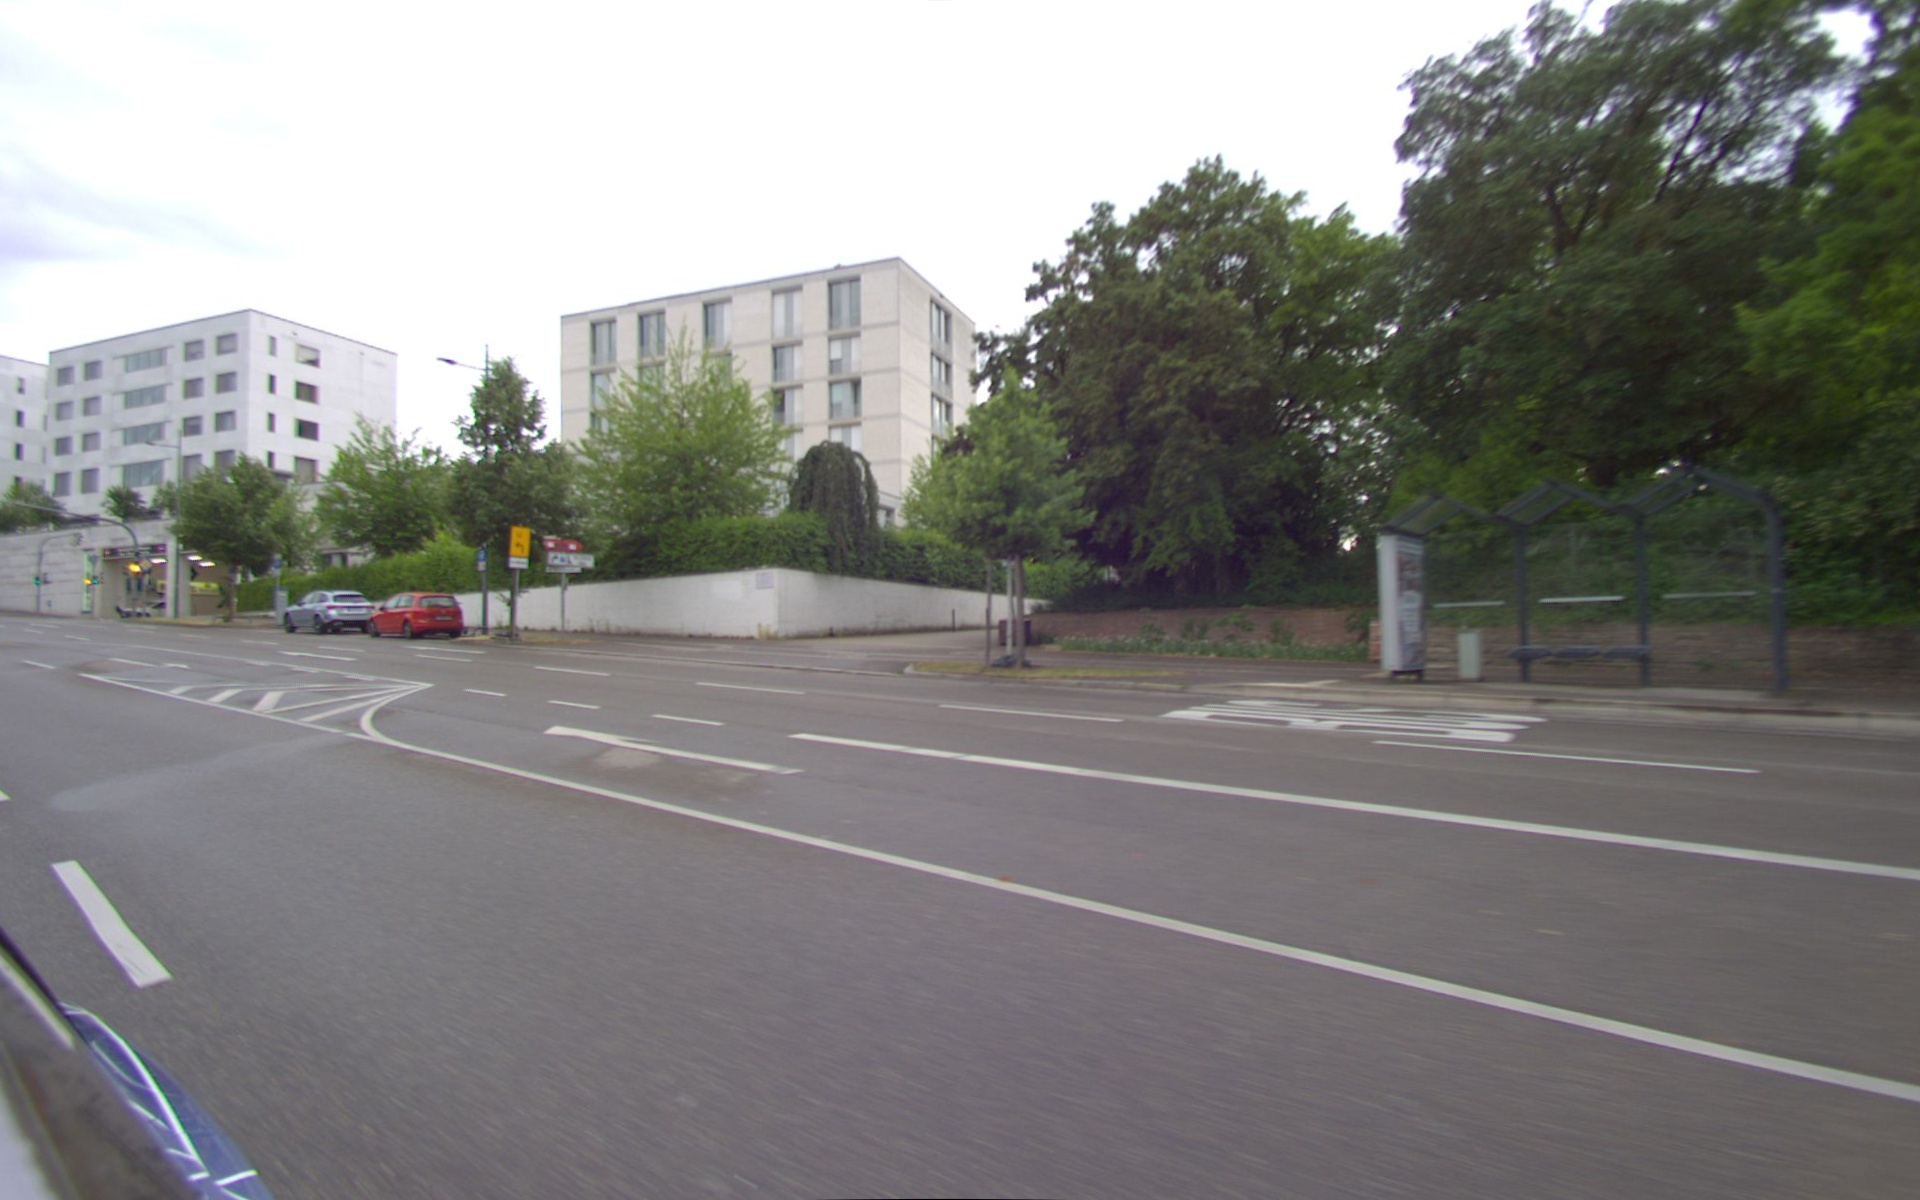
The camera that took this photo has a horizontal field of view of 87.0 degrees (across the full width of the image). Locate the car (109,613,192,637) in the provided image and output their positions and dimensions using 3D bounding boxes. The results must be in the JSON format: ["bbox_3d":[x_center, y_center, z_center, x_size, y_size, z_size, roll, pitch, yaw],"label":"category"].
[{"bbox_3d":[-59.004,1.830,73.874,1.984,1.664,4.319,1,-2,19],"label":"car"}]

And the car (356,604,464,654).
[{"bbox_3d":[-18.987,0.970,34.871,4.210,1.599,1.649,0,-2,37],"label":"car"}]

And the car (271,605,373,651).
[{"bbox_3d":[-24.676,1.026,39.065,4.876,1.666,1.748,0,0,37],"label":"car"}]

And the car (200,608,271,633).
[{"bbox_3d":[-54.546,1.558,76.230,1.788,1.785,3.969,1,-2,23],"label":"car"}]
